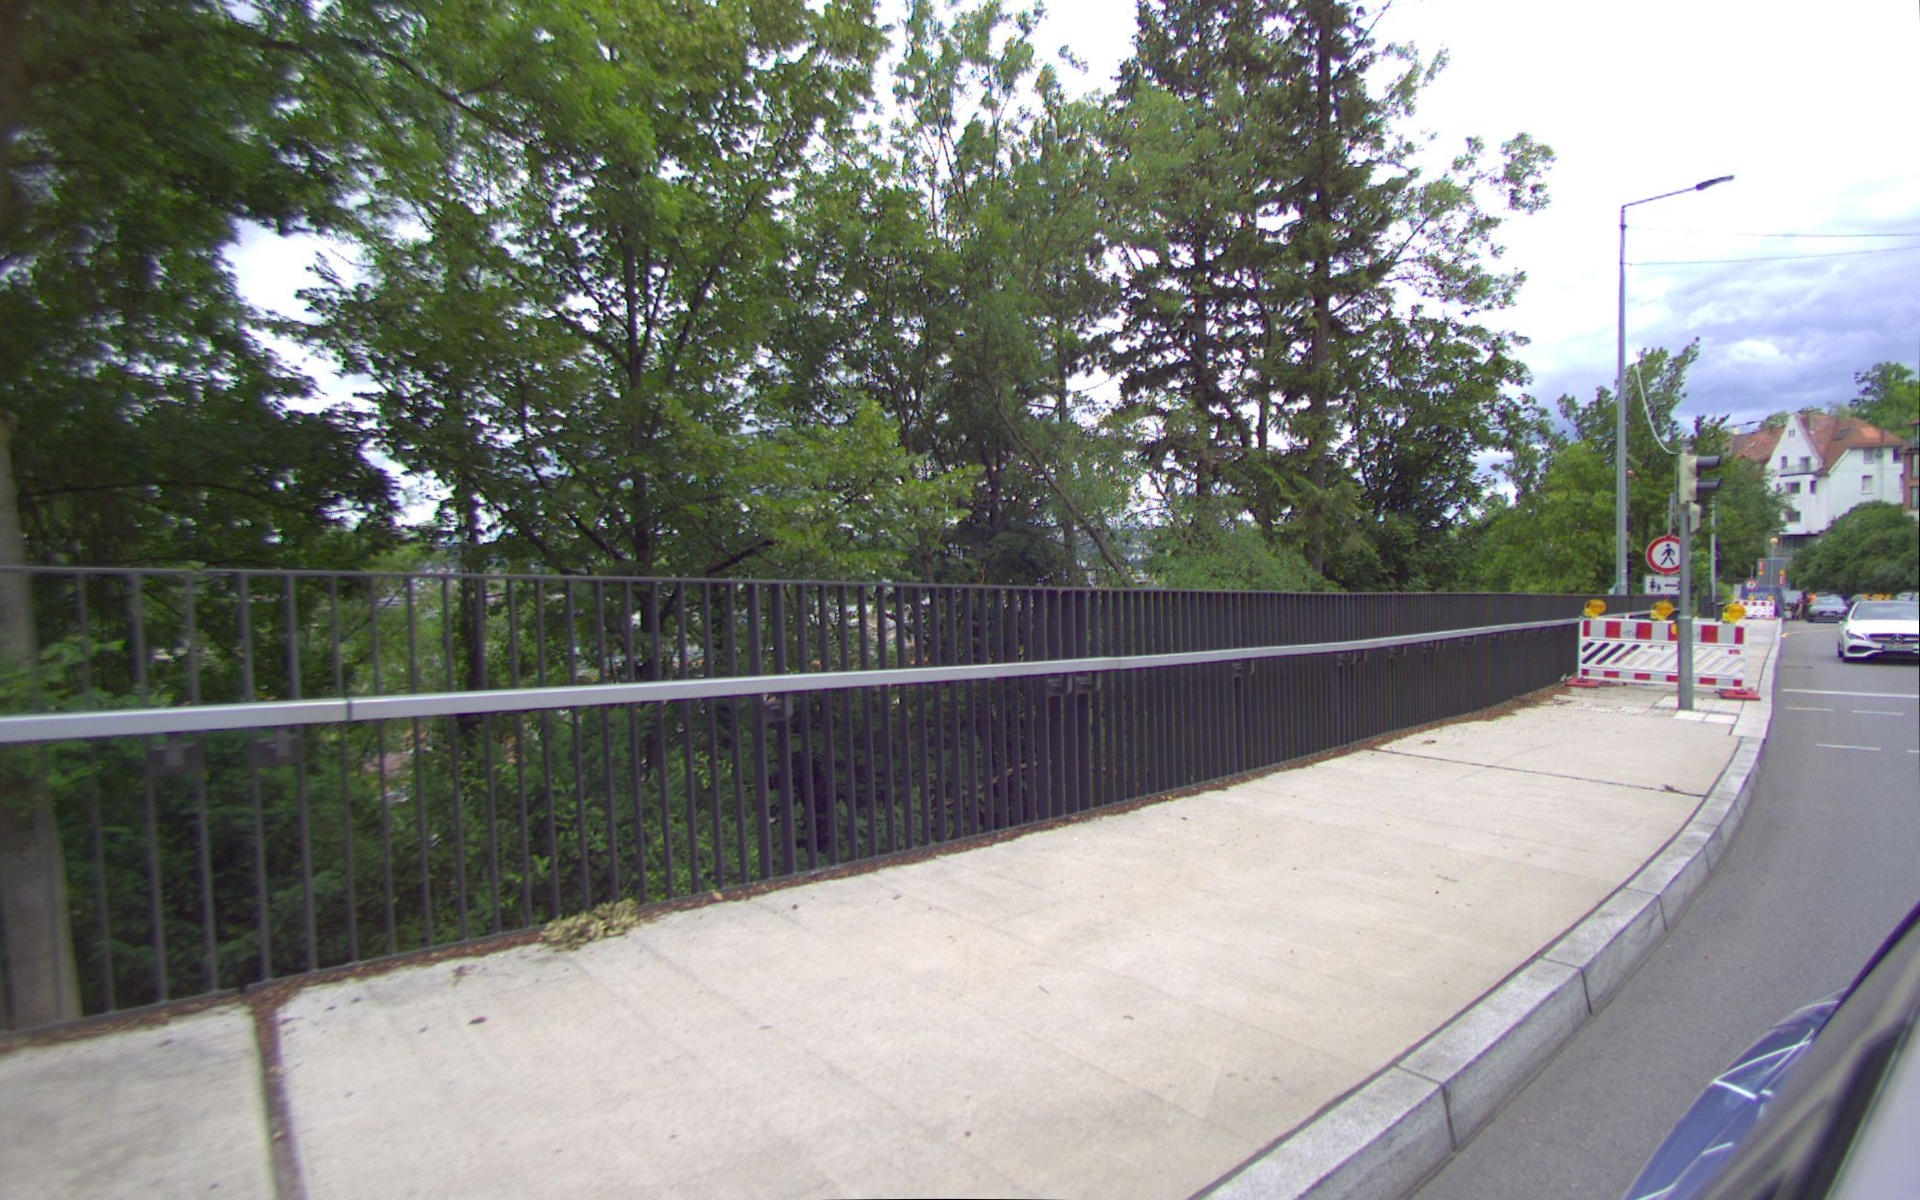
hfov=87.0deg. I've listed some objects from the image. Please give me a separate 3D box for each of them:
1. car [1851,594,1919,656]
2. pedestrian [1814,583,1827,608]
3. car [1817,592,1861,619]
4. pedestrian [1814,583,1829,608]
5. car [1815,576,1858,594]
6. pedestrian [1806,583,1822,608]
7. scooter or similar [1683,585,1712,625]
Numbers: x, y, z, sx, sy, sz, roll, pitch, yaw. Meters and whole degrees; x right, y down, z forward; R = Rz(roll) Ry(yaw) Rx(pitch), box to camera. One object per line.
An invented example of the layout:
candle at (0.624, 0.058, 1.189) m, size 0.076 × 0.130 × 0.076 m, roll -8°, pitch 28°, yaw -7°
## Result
car at (21.760, 0.525, 23.275) m, size 1.792 × 1.323 × 4.037 m, roll -1°, pitch 0°, yaw 43°
pedestrian at (65.250, -0.312, 76.735) m, size 0.522 × 1.865 × 0.788 m, roll 2°, pitch 1°, yaw 29°
car at (49.967, 0.302, 57.592) m, size 1.837 × 1.474 × 4.560 m, roll -1°, pitch 0°, yaw 40°
pedestrian at (64.529, -0.326, 75.772) m, size 0.634 × 1.882 × 0.826 m, roll 2°, pitch 1°, yaw 29°
car at (90.116, -1.514, 104.099) m, size 1.745 × 1.616 × 3.772 m, roll -6°, pitch -1°, yaw 16°
pedestrian at (65.764, -0.331, 77.911) m, size 0.607 × 1.909 × 0.718 m, roll 2°, pitch -2°, yaw 0°
scooter or similar at (23.552, 0.149, 32.312) m, size 1.186 × 1.242 × 0.535 m, roll 1°, pitch 1°, yaw -44°
